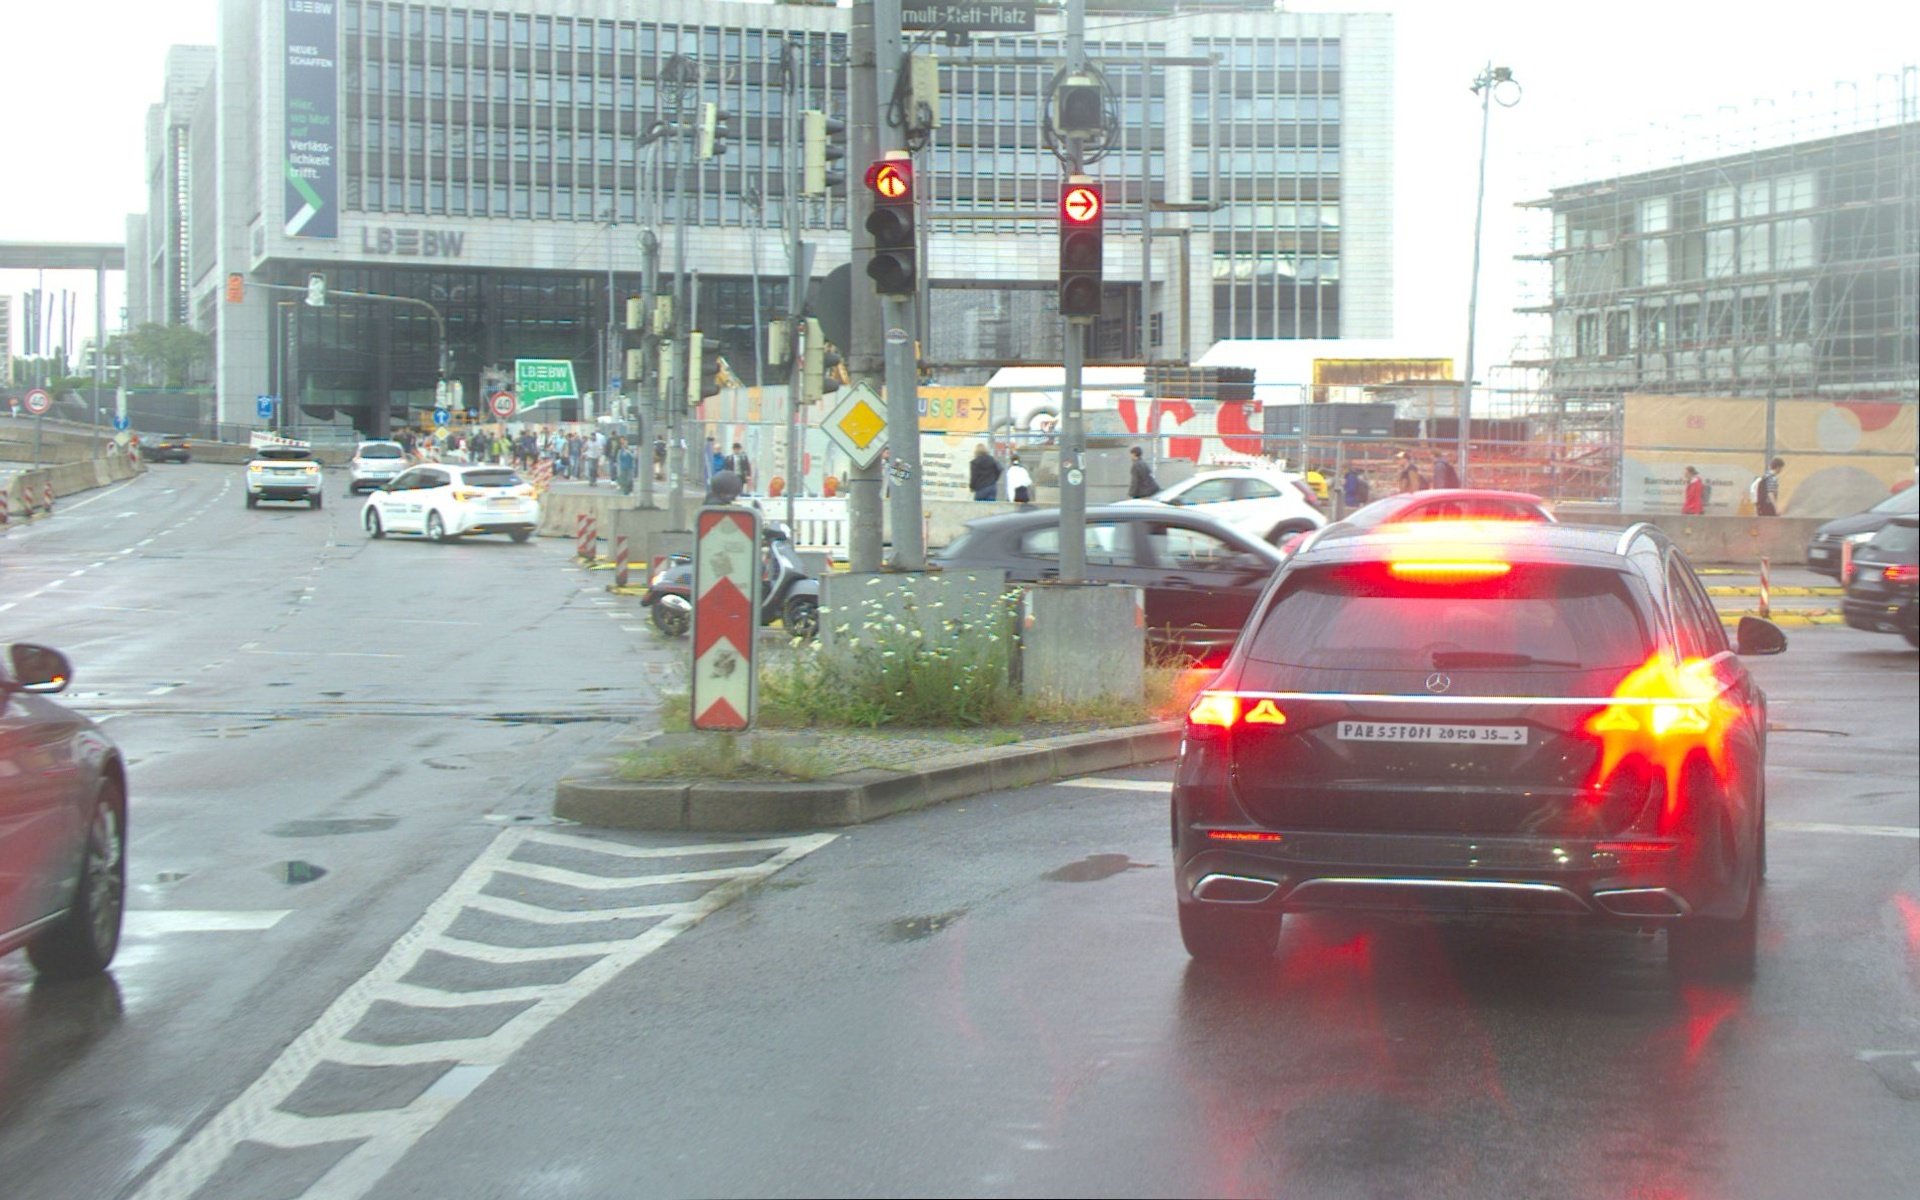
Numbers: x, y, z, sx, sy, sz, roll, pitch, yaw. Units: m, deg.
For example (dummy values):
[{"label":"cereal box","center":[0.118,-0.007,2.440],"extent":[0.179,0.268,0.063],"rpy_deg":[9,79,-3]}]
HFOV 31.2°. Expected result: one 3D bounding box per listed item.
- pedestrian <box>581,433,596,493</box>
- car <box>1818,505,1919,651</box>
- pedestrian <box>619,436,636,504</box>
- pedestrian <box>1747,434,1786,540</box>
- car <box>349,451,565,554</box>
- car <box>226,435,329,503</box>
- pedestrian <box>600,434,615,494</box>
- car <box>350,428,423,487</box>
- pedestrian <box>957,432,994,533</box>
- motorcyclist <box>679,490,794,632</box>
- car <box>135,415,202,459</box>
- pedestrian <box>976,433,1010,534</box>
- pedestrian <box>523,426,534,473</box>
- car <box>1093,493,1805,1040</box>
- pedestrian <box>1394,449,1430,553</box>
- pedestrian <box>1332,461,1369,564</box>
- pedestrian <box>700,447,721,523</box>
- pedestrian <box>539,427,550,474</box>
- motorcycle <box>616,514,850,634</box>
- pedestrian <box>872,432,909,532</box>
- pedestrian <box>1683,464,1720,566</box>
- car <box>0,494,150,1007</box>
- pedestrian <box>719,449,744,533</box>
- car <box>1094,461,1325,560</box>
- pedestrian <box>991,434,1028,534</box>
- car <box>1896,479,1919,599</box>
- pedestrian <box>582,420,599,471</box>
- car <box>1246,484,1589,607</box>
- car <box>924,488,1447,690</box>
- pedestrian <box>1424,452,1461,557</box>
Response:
[{"label":"pedestrian","center":[-11.932,-4.402,110.387],"extent":[0.361,1.891,0.577],"rpy_deg":[1,1,-13]},{"label":"car","center":[10.500,-0.167,32.779],"extent":[4.098,1.340,2.000],"rpy_deg":[1,1,-1]},{"label":"pedestrian","center":[-9.377,-3.655,97.021],"extent":[0.361,1.891,0.577],"rpy_deg":[1,1,-13]},{"label":"pedestrian","center":[14.499,-2.032,61.825],"extent":[0.574,1.891,0.362],"rpy_deg":[1,0,0]},{"label":"car","center":[-9.128,-1.759,62.148],"extent":[1.994,1.760,4.418],"rpy_deg":[1,1,-36]},{"label":"car","center":[-17.596,-3.352,88.508],"extent":[1.993,1.634,4.001],"rpy_deg":[1,1,-20]},{"label":"pedestrian","center":[-11.342,-4.371,110.502],"extent":[0.361,1.891,0.577],"rpy_deg":[1,1,-13]},{"label":"car","center":[-17.733,-4.409,106.185],"extent":[1.727,1.634,3.436],"rpy_deg":[1,4,-18]},{"label":"pedestrian","center":[0.286,-2.205,64.669],"extent":[0.361,1.891,0.576],"rpy_deg":[1,1,-40]},{"label":"motorcyclist","center":[-2.185,-0.385,33.674],"extent":[0.945,1.353,0.849],"rpy_deg":[1,1,7]},{"label":"car","center":[-38.979,-8.027,169.233],"extent":[1.993,2.007,4.000],"rpy_deg":[1,1,-32]},{"label":"pedestrian","center":[0.624,-2.192,64.918],"extent":[0.361,1.891,0.576],"rpy_deg":[-1,1,-40]},{"label":"pedestrian","center":[-17.578,-6.114,140.108],"extent":[0.361,1.891,0.577],"rpy_deg":[1,1,-13]},{"label":"car","center":[1.885,0.462,12.059],"extent":[1.893,1.538,3.990],"rpy_deg":[2,1,16]},{"label":"pedestrian","center":[8.342,-1.821,63.420],"extent":[0.574,1.891,0.362],"rpy_deg":[1,0,1]},{"label":"pedestrian","center":[7.240,-1.611,63.662],"extent":[0.575,1.891,0.362],"rpy_deg":[2,1,18]},{"label":"pedestrian","center":[-6.253,-2.888,86.169],"extent":[0.361,1.891,0.577],"rpy_deg":[1,1,-17]},{"label":"pedestrian","center":[-16.964,-6.106,140.274],"extent":[0.361,1.891,0.577],"rpy_deg":[1,1,-13]},{"label":"motorcycle","center":[-2.214,-0.258,33.674],"extent":[2.136,1.104,0.851],"rpy_deg":[1,1,7]},{"label":"pedestrian","center":[-1.331,-2.260,65.872],"extent":[0.361,1.891,0.576],"rpy_deg":[1,1,-42]},{"label":"pedestrian","center":[13.786,-1.580,63.921],"extent":[0.574,1.891,0.362],"rpy_deg":[1,0,0]},{"label":"car","center":[-3.563,0.437,9.349],"extent":[1.783,1.397,4.487],"rpy_deg":[1,3,-2]},{"label":"pedestrian","center":[-5.177,-2.460,78.008],"extent":[0.361,1.891,0.576],"rpy_deg":[1,1,-22]},{"label":"car","center":[3.937,-1.407,54.634],"extent":[3.547,1.468,1.786],"rpy_deg":[1,1,2]},{"label":"pedestrian","center":[0.936,-2.195,65.175],"extent":[0.361,1.891,0.576],"rpy_deg":[1,1,-42]},{"label":"car","center":[15.777,-0.828,49.360],"extent":[3.986,1.728,2.001],"rpy_deg":[1,1,-12]},{"label":"pedestrian","center":[-13.848,-5.791,128.919],"extent":[0.519,1.891,0.577],"rpy_deg":[1,1,-13]},{"label":"car","center":[5.277,-0.625,39.801],"extent":[3.532,1.300,1.666],"rpy_deg":[1,1,-14]},{"label":"car","center":[1.843,-0.102,28.187],"extent":[4.099,1.501,2.000],"rpy_deg":[1,1,4]},{"label":"pedestrian","center":[8.743,-1.724,62.303],"extent":[0.574,1.891,0.362],"rpy_deg":[1,0,-3]}]
